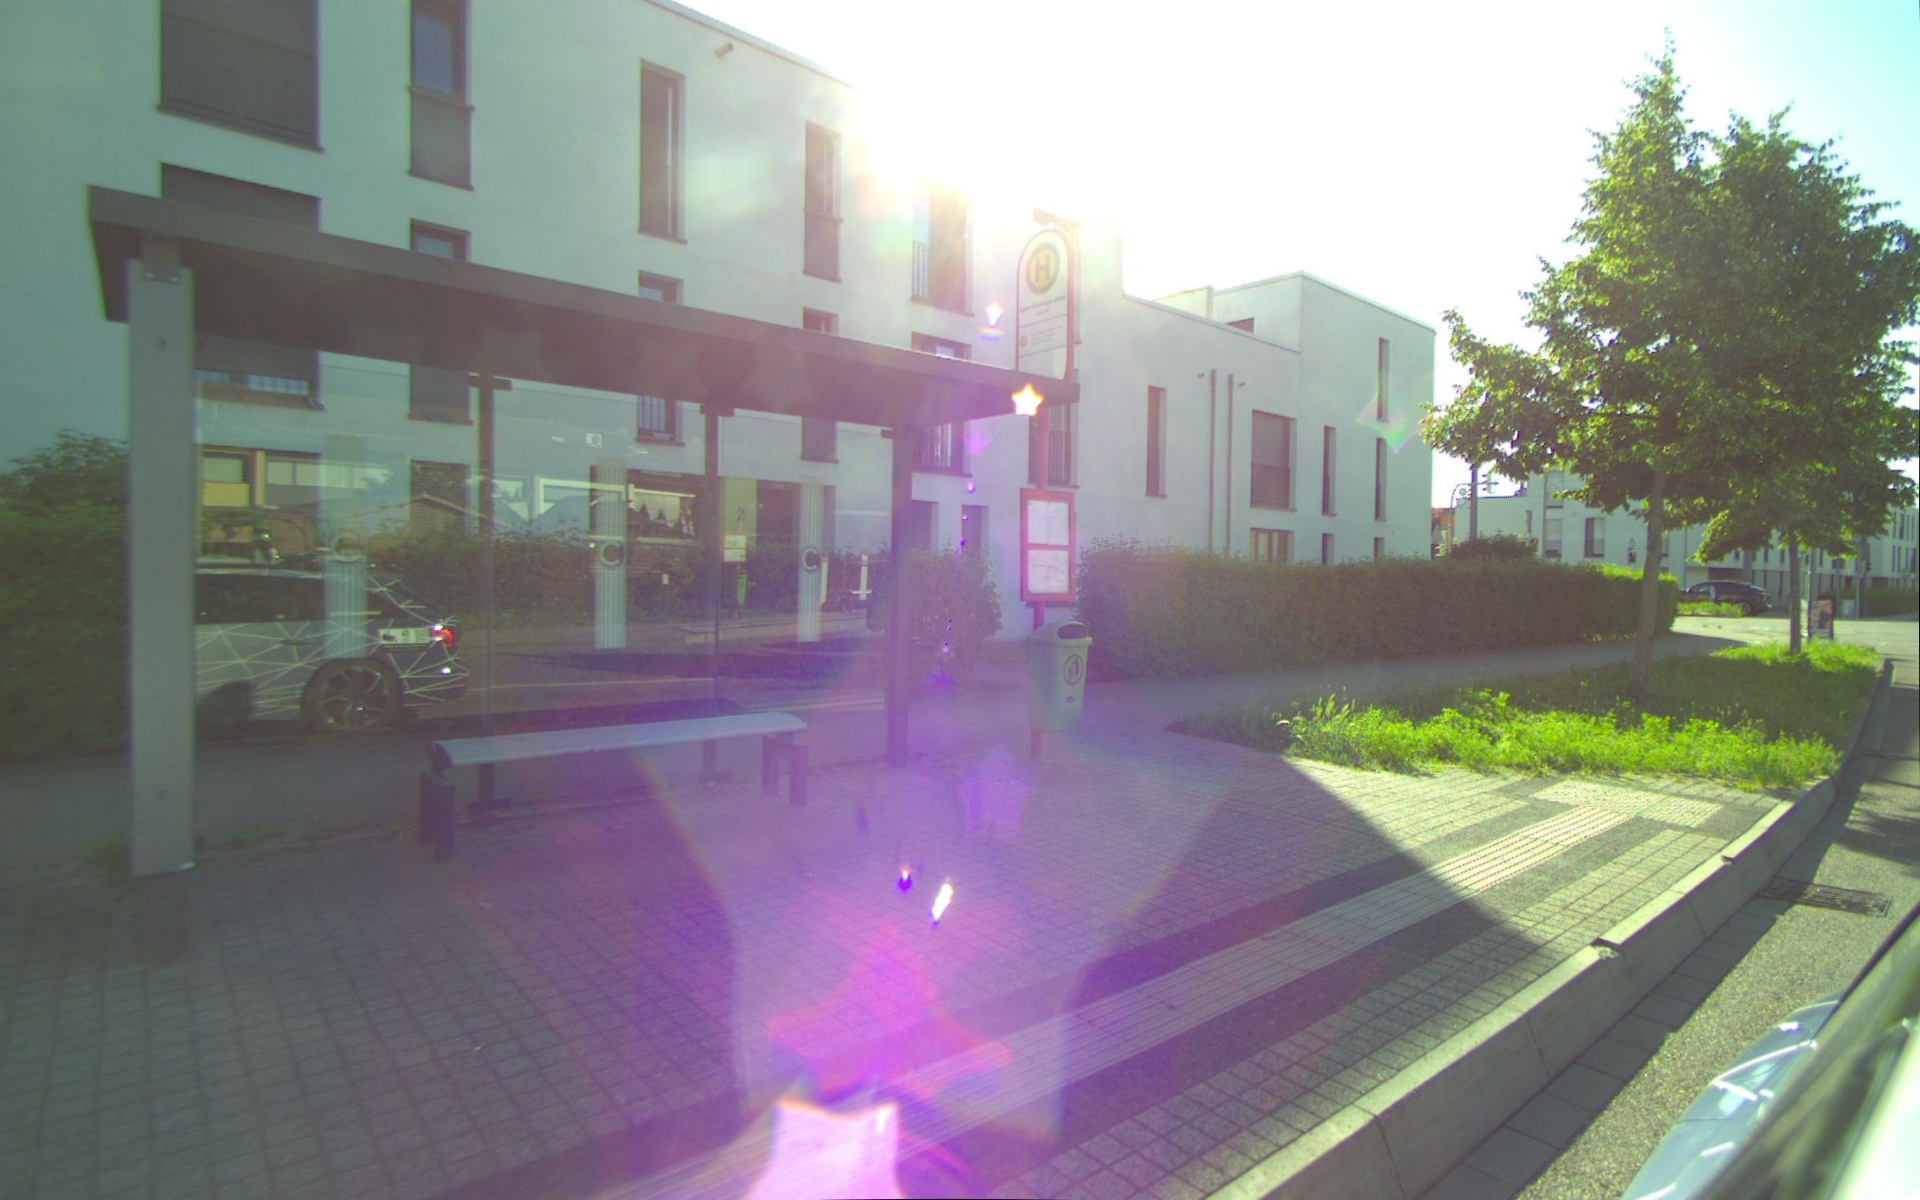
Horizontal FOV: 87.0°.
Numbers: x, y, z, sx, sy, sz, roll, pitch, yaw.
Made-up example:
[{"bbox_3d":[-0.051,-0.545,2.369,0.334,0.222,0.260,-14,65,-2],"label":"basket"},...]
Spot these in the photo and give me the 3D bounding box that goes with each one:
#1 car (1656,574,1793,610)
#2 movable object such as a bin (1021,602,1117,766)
[{"bbox_3d":[35.185,-0.405,46.668,1.940,1.553,4.732,0,2,-42],"label":"car"},{"bbox_3d":[0.737,0.534,6.796,0.368,1.029,0.591,2,1,40],"label":"movable object such as a bin"}]
